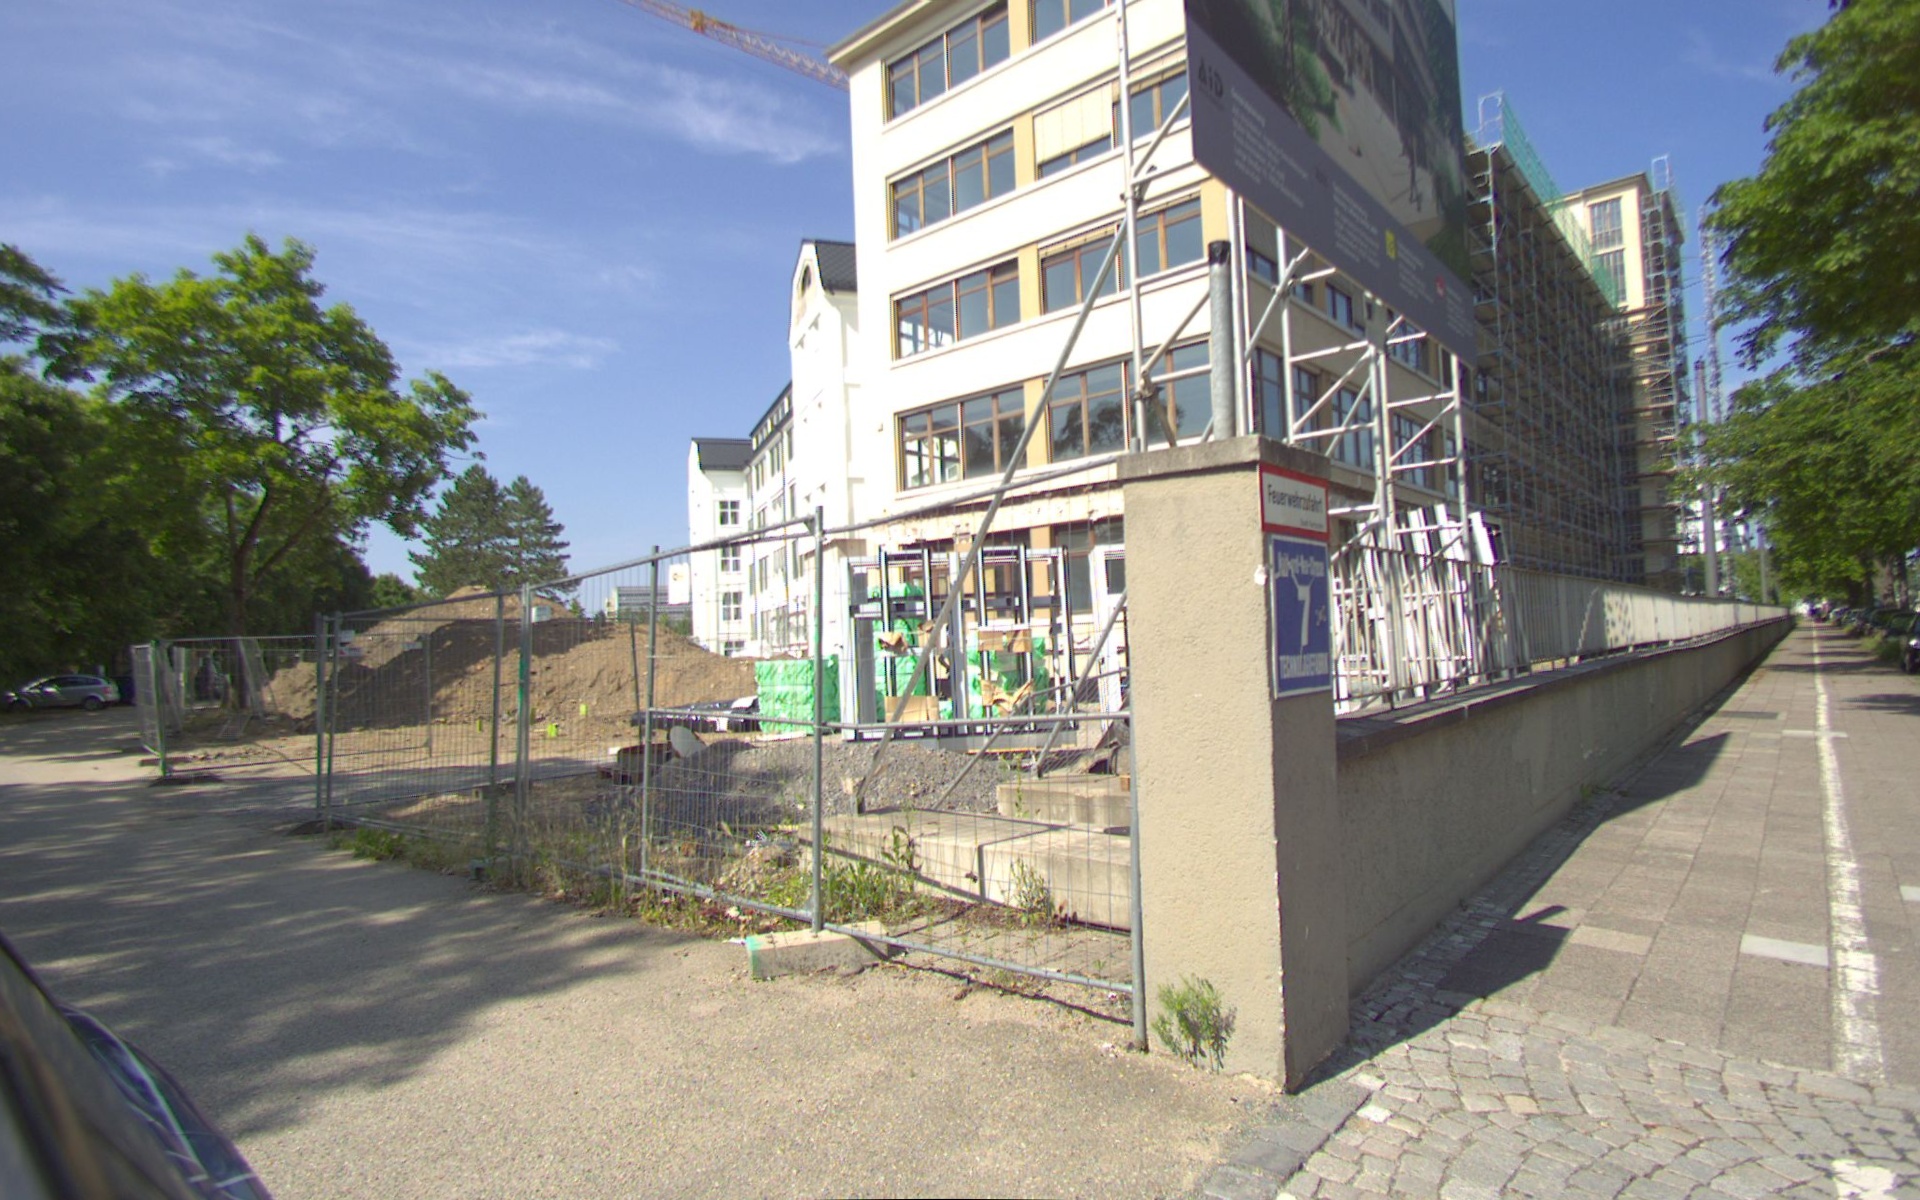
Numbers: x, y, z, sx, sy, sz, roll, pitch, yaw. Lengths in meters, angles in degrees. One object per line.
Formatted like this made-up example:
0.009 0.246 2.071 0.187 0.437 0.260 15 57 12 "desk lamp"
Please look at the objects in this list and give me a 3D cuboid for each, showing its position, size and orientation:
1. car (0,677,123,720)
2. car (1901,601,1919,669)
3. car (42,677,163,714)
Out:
-37.599 4.065 42.107 3.931 1.519 2.006 -1 -3 -29 "car"
22.780 0.727 22.945 1.819 1.464 3.946 -4 -3 40 "car"
-39.766 4.400 47.056 3.931 1.453 2.006 -1 -3 -29 "car"
